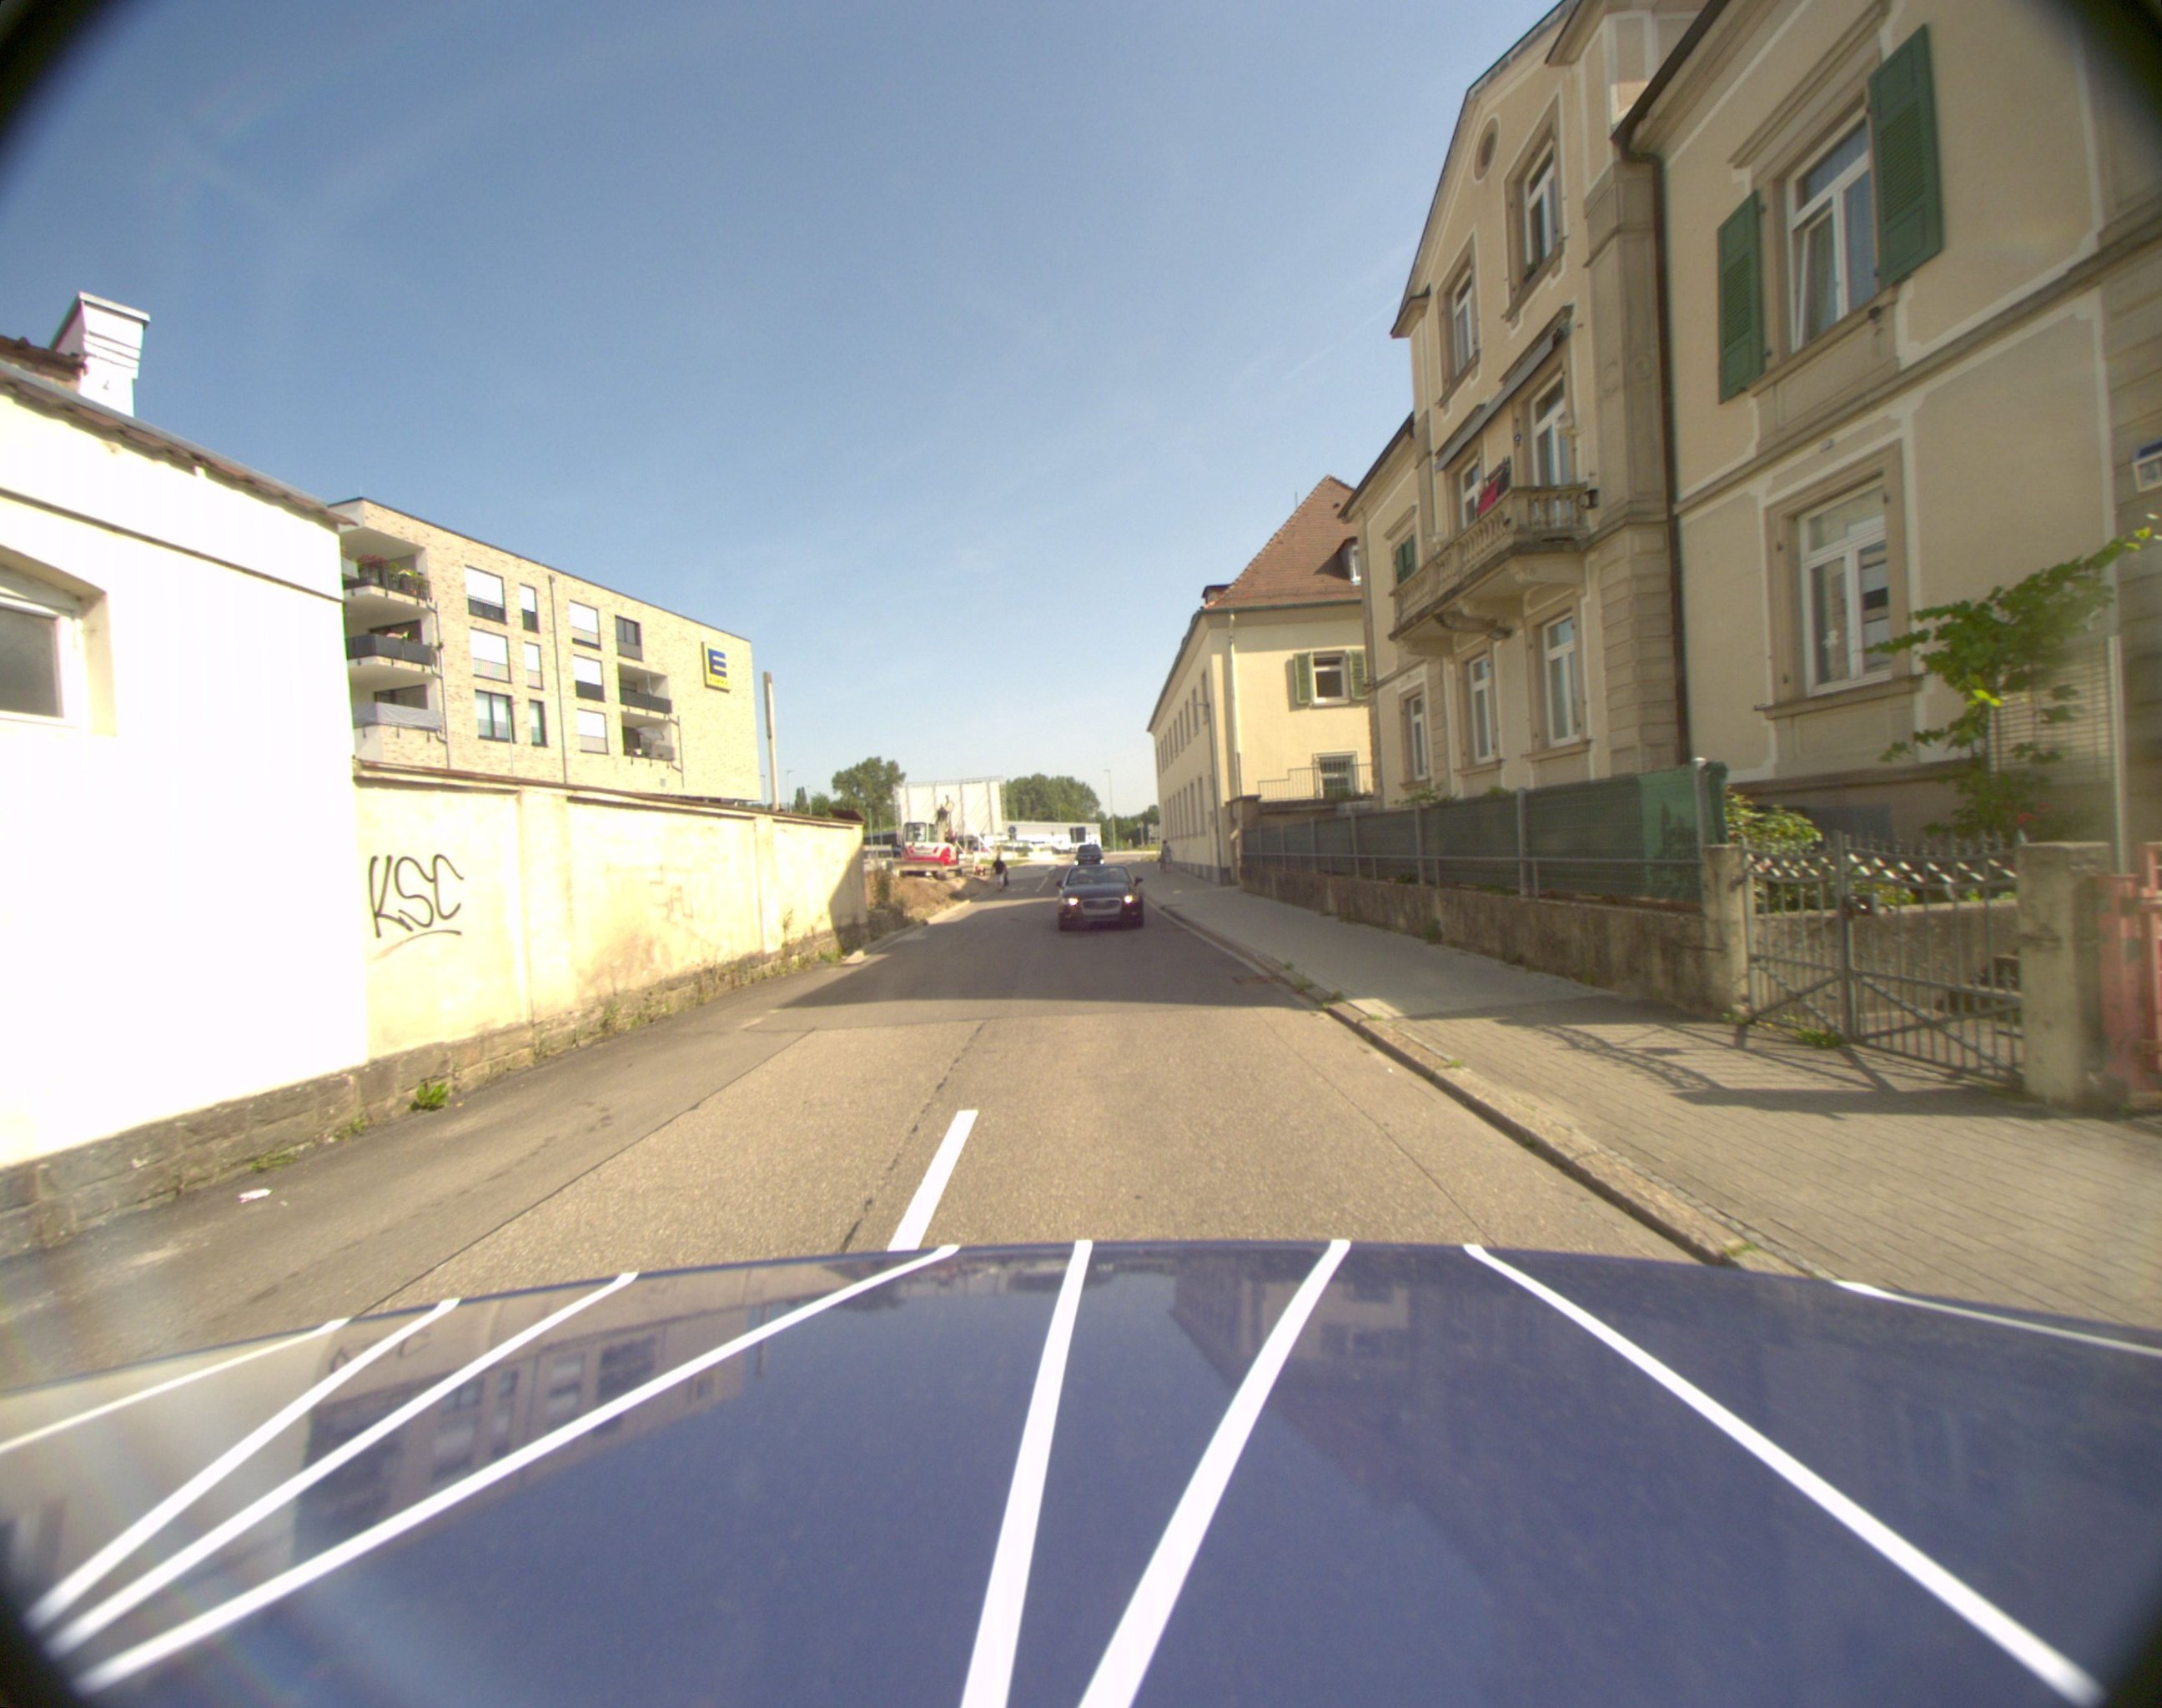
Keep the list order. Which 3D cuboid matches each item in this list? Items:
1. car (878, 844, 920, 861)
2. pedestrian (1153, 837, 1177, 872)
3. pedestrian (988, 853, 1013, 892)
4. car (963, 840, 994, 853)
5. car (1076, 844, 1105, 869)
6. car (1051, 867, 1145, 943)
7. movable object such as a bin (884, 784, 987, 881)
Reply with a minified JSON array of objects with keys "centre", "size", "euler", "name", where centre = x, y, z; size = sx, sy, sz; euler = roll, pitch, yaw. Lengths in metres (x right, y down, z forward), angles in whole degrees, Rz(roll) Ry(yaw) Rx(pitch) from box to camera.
[{"centre":[-22.750,-0.206,95.042],"size":[4.851,1.521,1.925],"euler":[-6,0,22],"name":"car"},{"centre":[4.062,0.001,36.906],"size":[0.960,1.622,0.758],"euler":[-5,2,1],"name":"pedestrian"},{"centre":[-3.671,0.832,34.700],"size":[0.890,1.673,0.718],"euler":[-5,2,1],"name":"pedestrian"},{"centre":[-14.762,-1.064,109.670],"size":[4.018,1.564,1.779],"euler":[-6,0,3],"name":"car"},{"centre":[0.637,0.143,47.322],"size":[1.642,1.384,4.230],"euler":[-3,0,2],"name":"car"},{"centre":[0.374,1.000,16.430],"size":[1.721,1.314,4.225],"euler":[-3,-1,1],"name":"car"},{"centre":[-6.535,-0.970,35.377],"size":[2.300,3.832,7.799],"euler":[-6,1,5],"name":"movable object such as a bin"}]
